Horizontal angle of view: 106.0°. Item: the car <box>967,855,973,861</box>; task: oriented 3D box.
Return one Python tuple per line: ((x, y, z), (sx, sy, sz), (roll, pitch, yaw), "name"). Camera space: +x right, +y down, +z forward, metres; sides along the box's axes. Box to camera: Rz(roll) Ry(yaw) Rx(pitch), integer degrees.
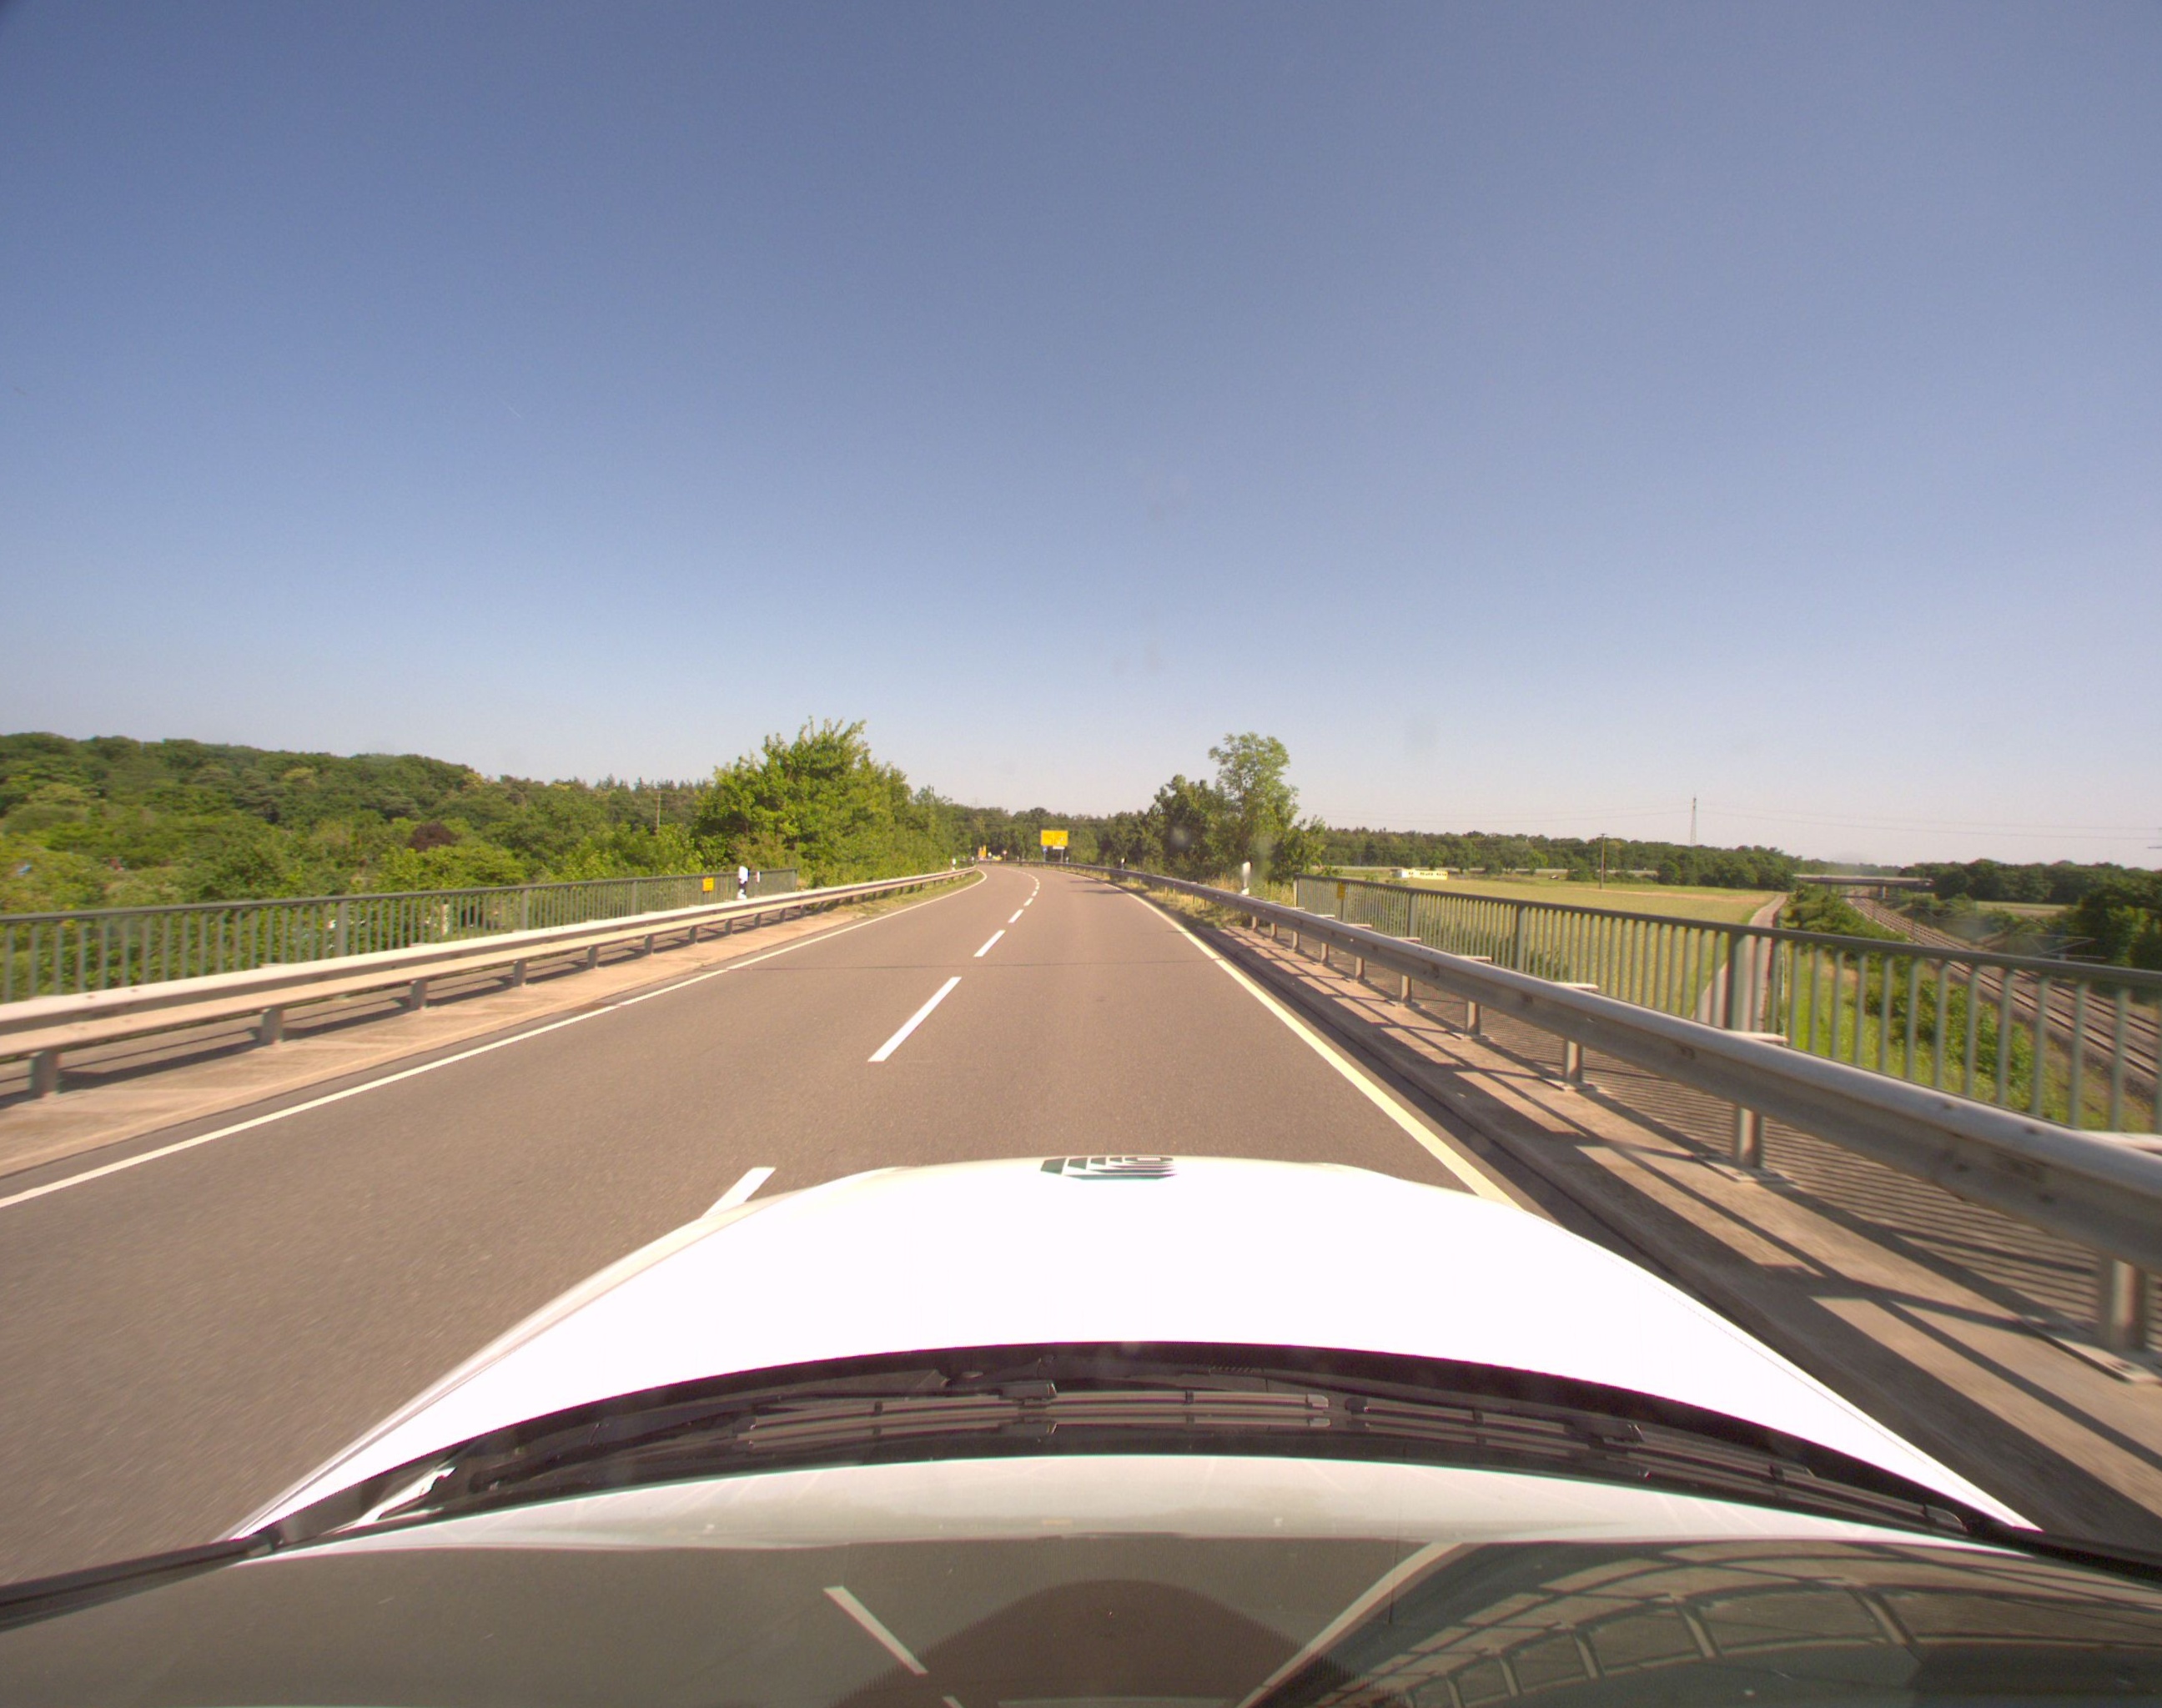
((-33.333, 1.190, 244.454), (1.798, 1.398, 3.990), (-7, 0, -7), "car")
